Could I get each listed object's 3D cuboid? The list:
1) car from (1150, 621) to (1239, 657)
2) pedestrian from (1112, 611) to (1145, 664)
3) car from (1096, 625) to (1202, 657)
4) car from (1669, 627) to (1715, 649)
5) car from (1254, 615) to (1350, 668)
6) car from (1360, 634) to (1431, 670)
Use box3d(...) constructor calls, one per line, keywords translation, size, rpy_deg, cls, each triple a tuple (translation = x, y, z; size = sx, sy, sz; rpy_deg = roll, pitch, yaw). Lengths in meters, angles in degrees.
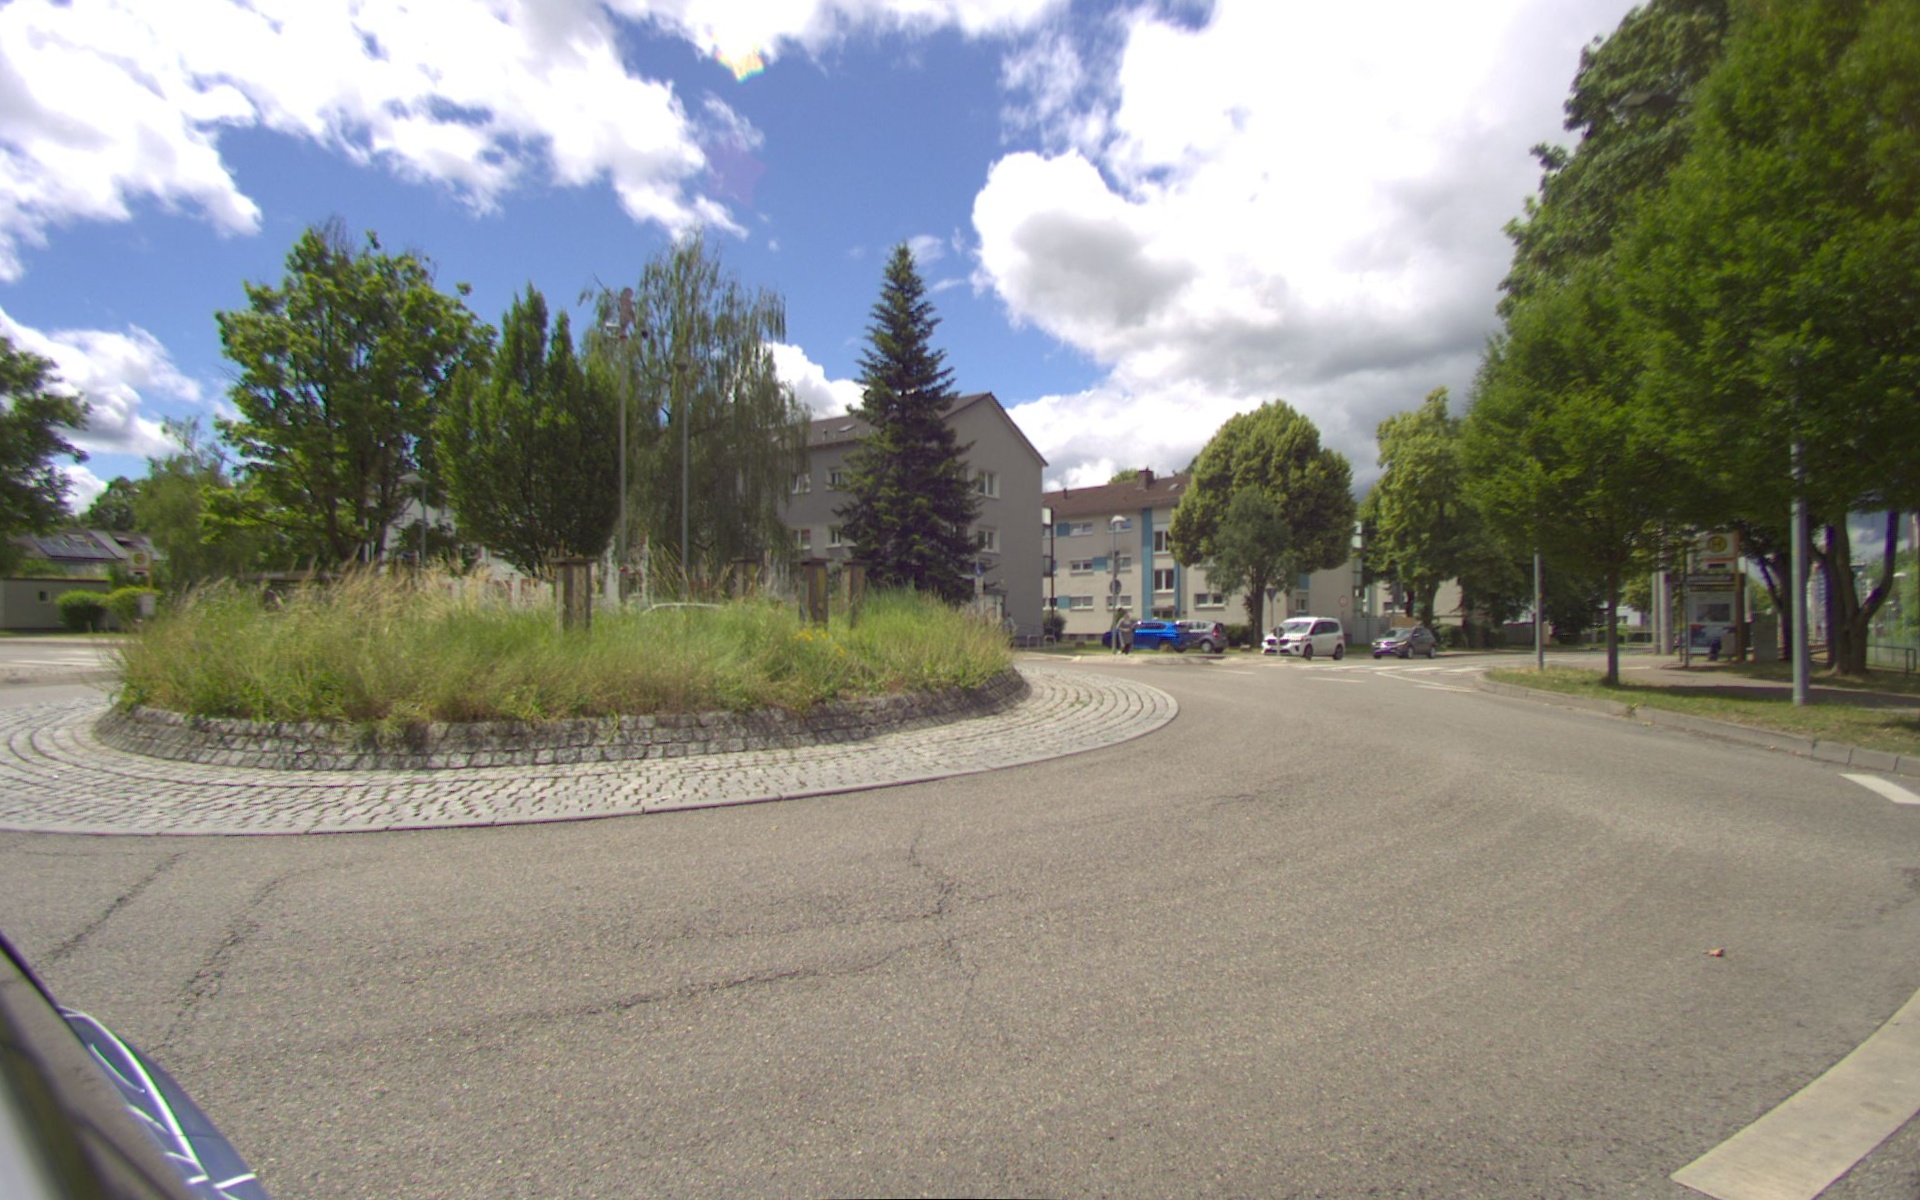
box3d(translation=(11.468, 1.865, 49.473), size=(3.735, 1.568, 2.006), rpy_deg=(1, -1, 37), cls="car")
box3d(translation=(5.824, 1.276, 34.988), size=(0.873, 1.812, 0.898), rpy_deg=(0, -2, 31), cls="pedestrian")
box3d(translation=(8.834, 1.915, 47.436), size=(4.488, 1.253, 1.976), rpy_deg=(2, -1, 35), cls="car")
box3d(translation=(58.377, 3.036, 80.680), size=(3.937, 1.713, 2.003), rpy_deg=(1, -4, -40), cls="car")
box3d(translation=(14.106, 1.701, 41.644), size=(2.001, 2.066, 4.379), rpy_deg=(-3, -4, 44), cls="car")
box3d(translation=(21.100, 2.480, 48.977), size=(1.999, 1.620, 3.944), rpy_deg=(-1, -2, 42), cls="car")
